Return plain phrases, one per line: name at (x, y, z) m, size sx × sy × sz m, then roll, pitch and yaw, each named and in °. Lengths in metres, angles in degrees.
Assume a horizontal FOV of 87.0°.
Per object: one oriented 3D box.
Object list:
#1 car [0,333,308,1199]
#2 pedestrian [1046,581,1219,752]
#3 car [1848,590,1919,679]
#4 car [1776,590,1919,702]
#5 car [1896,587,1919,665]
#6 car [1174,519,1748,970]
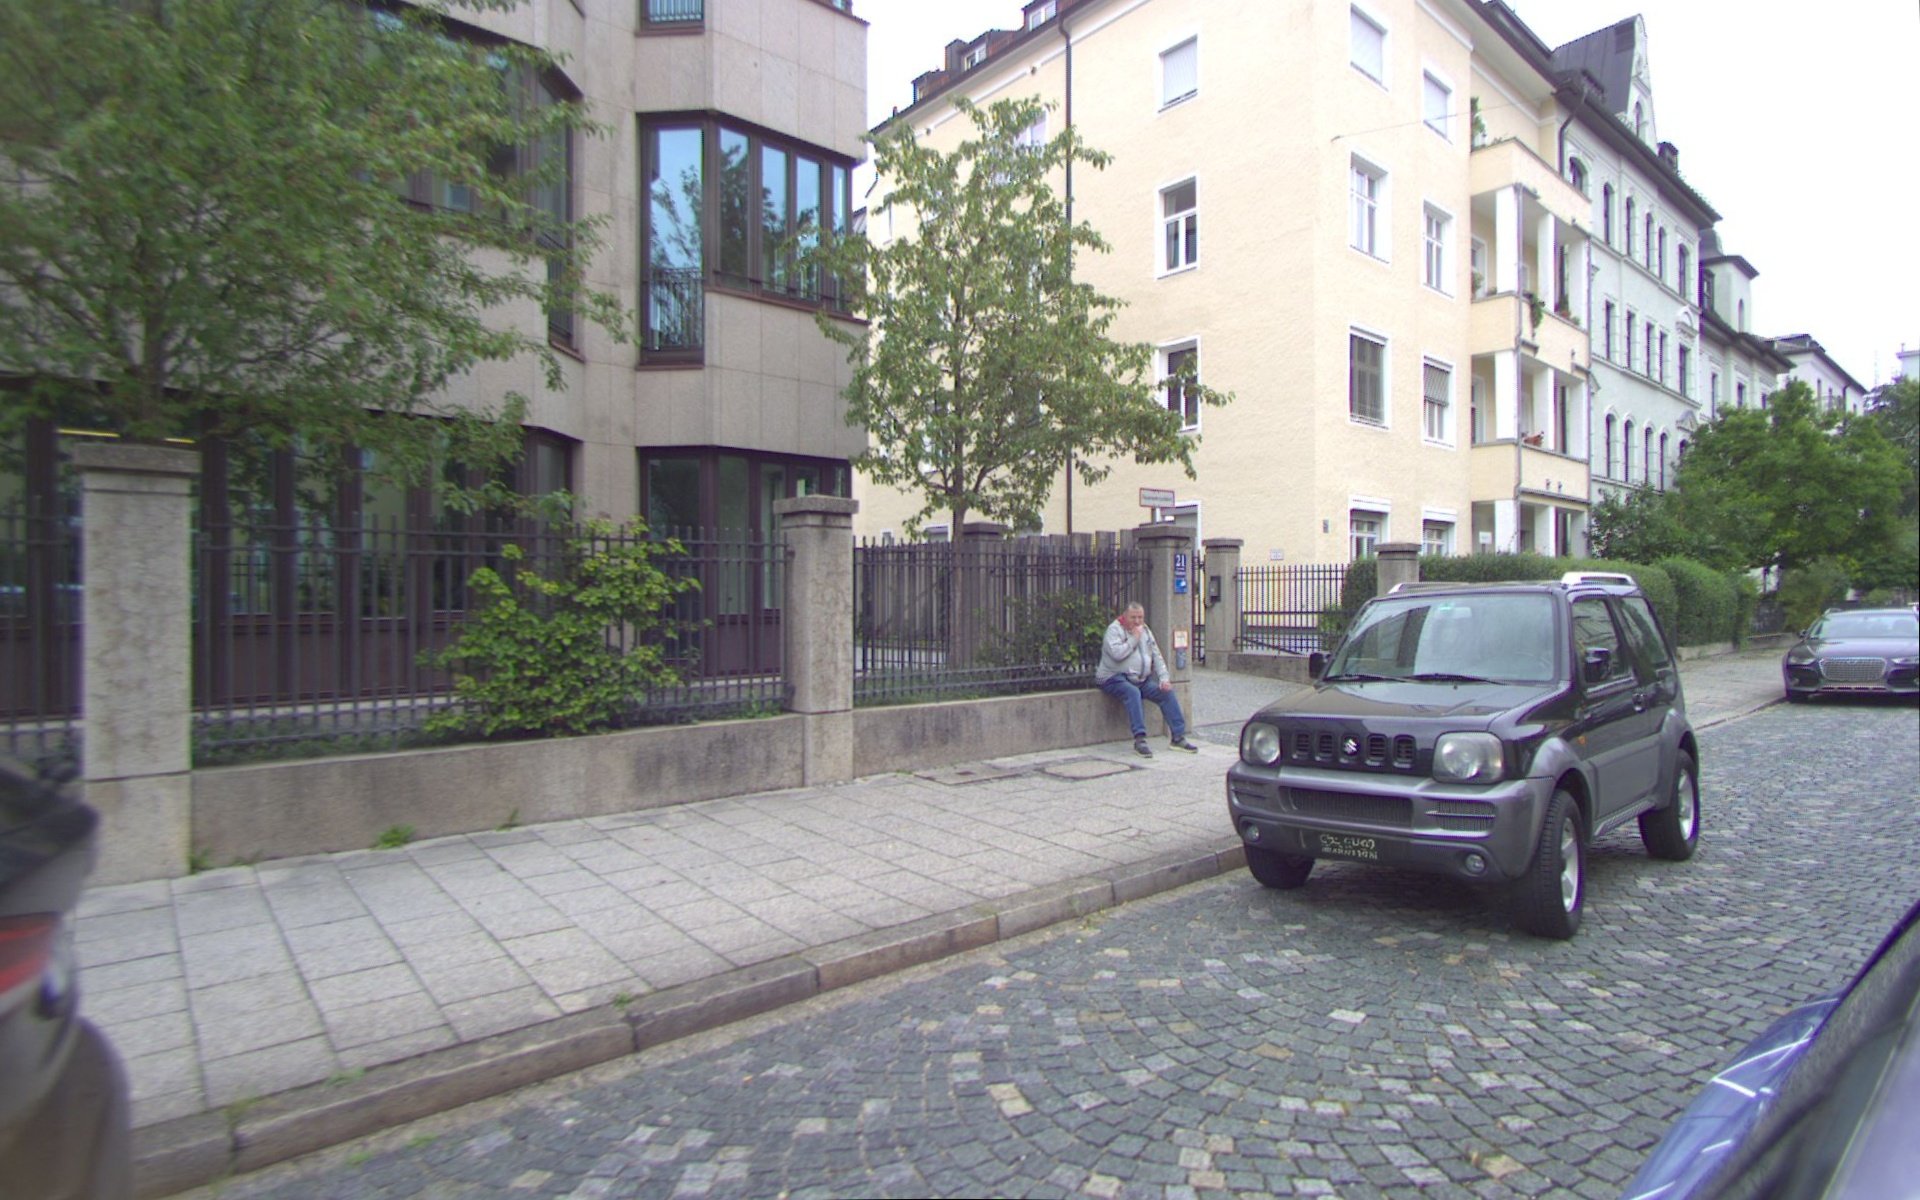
car at (-3.195, 0.635, 0.420) m, size 4.729 × 1.724 × 1.863 m, roll 0°, pitch -3°, yaw -41°
pedestrian at (1.669, 0.581, 9.876) m, size 1.109 × 1.511 × 1.220 m, roll 0°, pitch 2°, yaw -38°
car at (19.031, 0.596, 19.589) m, size 4.897 × 1.572 × 1.997 m, roll 0°, pitch -2°, yaw -40°
car at (15.056, 0.663, 16.350) m, size 4.927 × 1.572 × 1.996 m, roll 0°, pitch -3°, yaw -41°
car at (22.689, 0.522, 22.781) m, size 4.219 × 1.675 × 1.896 m, roll -1°, pitch -2°, yaw -41°
car at (3.096, 0.601, 5.895) m, size 3.820 × 1.774 × 1.620 m, roll 0°, pitch -3°, yaw -42°
